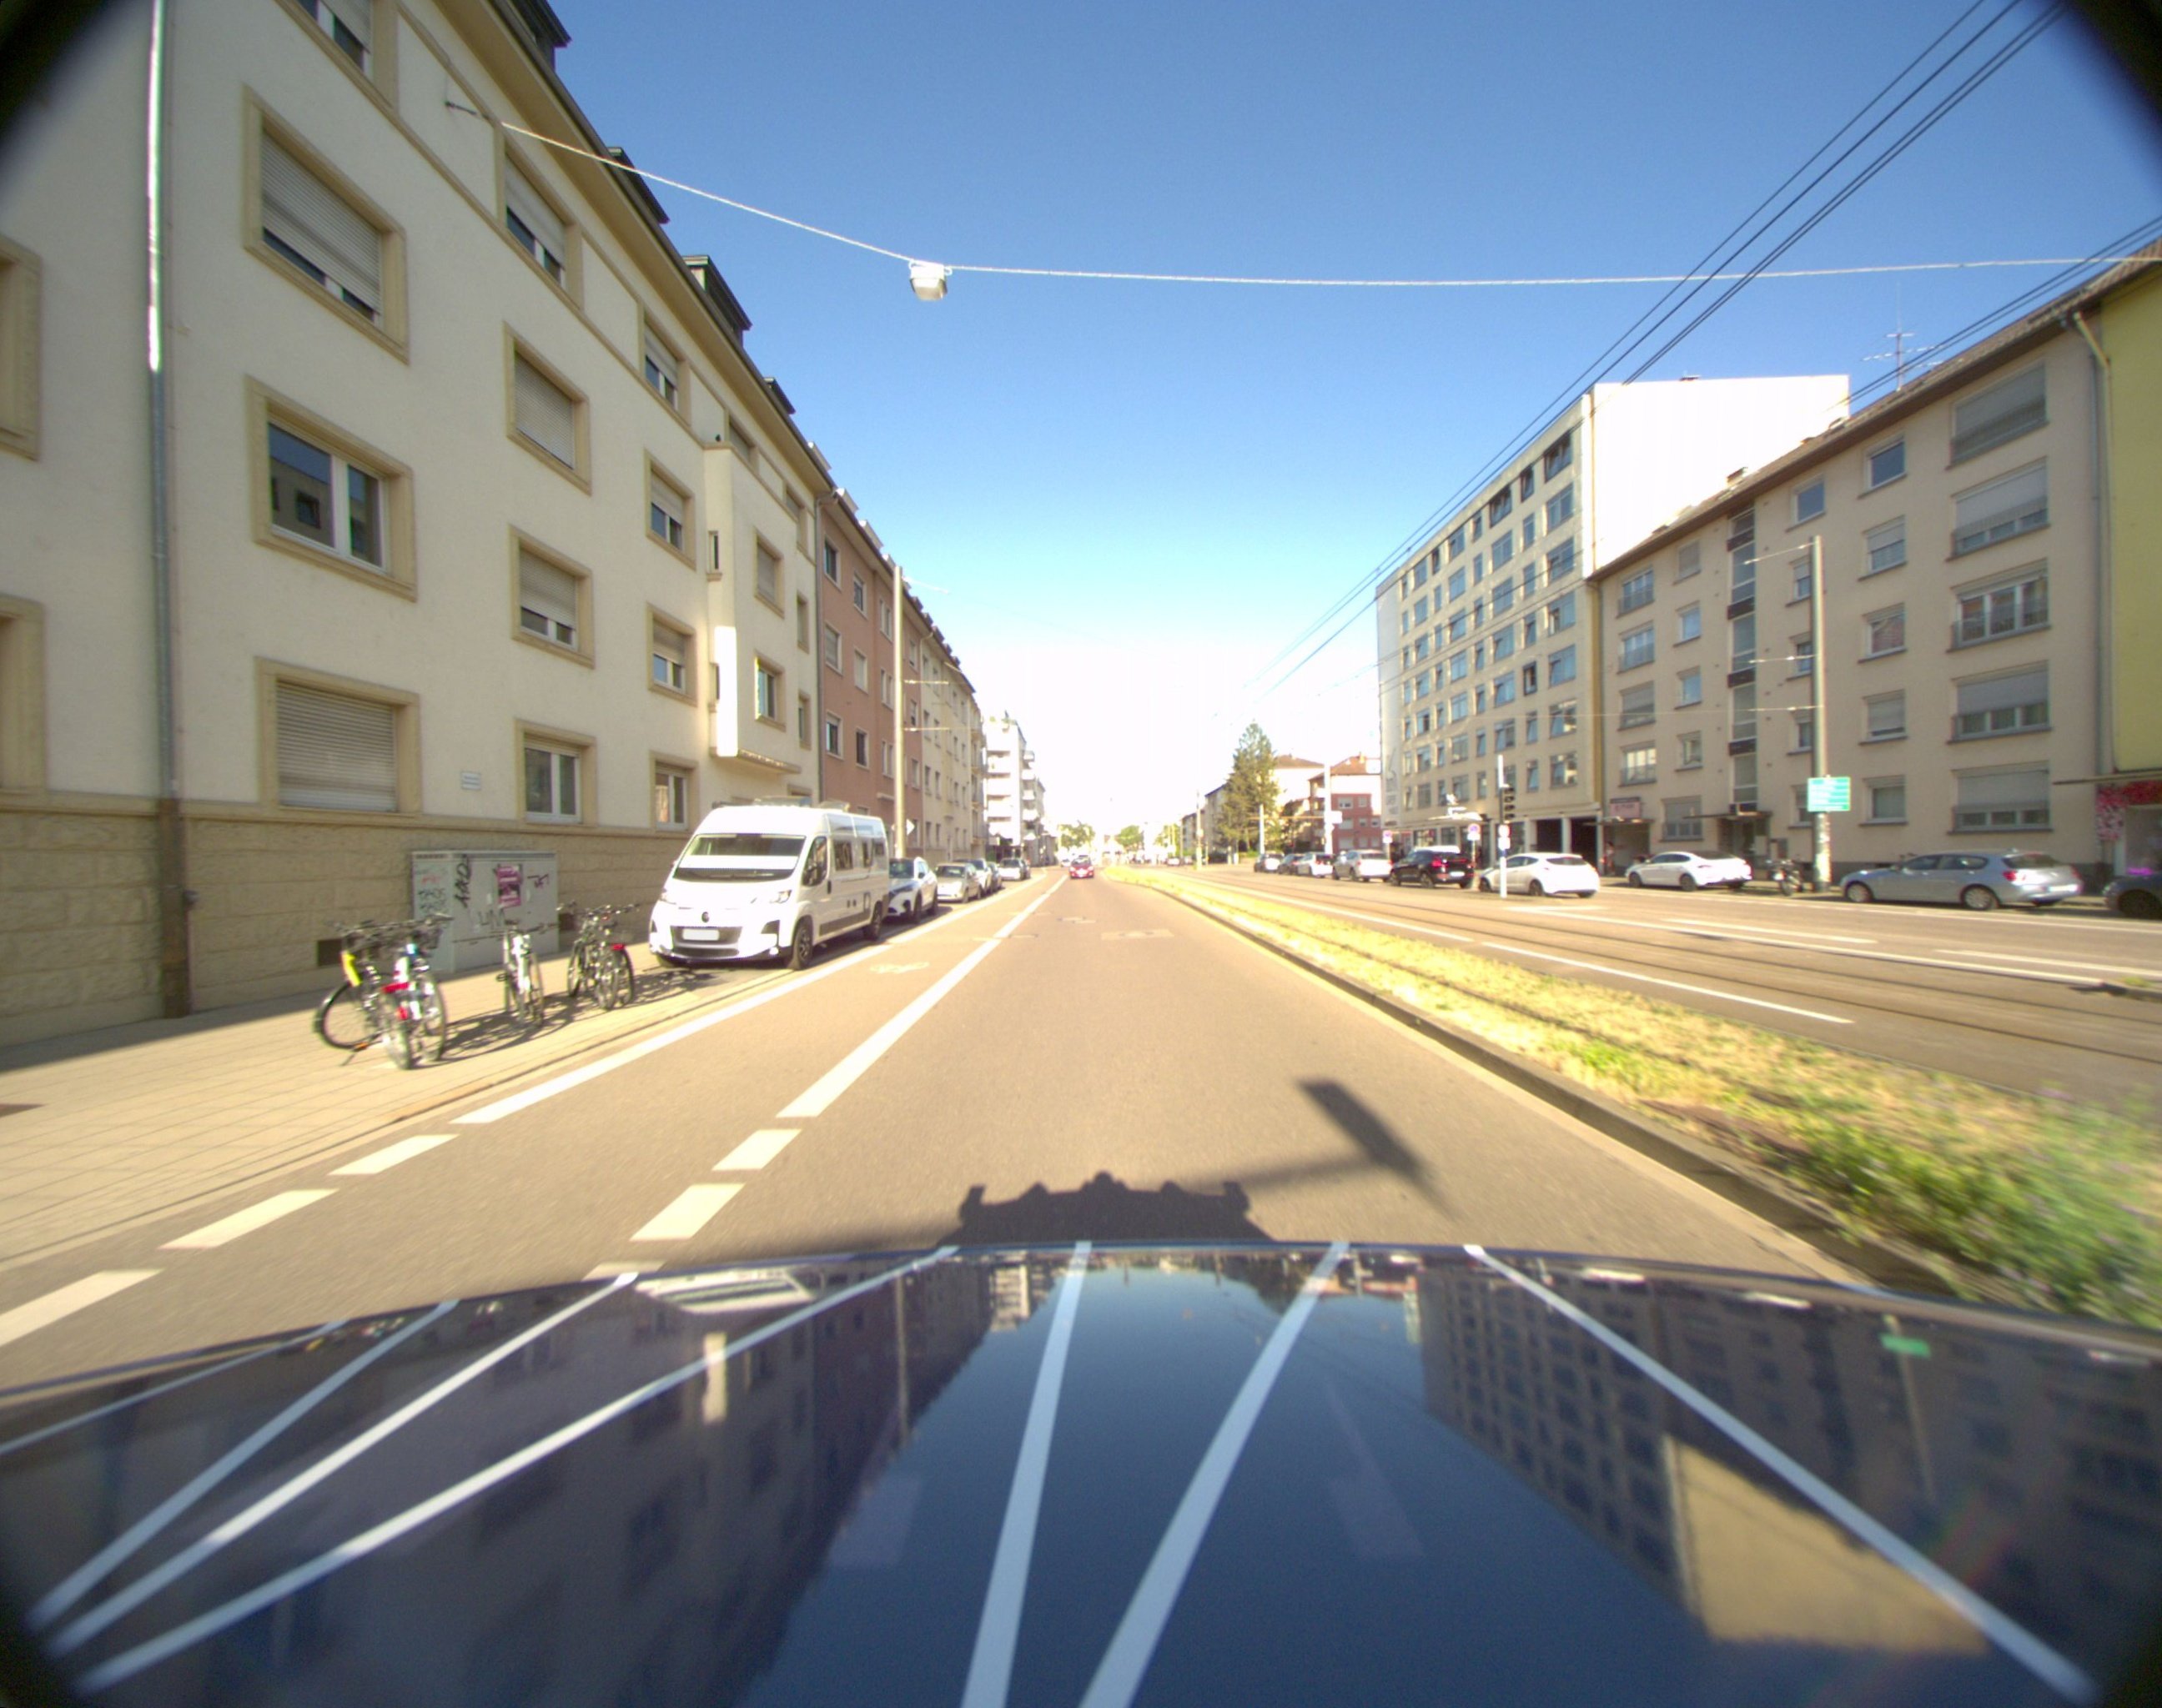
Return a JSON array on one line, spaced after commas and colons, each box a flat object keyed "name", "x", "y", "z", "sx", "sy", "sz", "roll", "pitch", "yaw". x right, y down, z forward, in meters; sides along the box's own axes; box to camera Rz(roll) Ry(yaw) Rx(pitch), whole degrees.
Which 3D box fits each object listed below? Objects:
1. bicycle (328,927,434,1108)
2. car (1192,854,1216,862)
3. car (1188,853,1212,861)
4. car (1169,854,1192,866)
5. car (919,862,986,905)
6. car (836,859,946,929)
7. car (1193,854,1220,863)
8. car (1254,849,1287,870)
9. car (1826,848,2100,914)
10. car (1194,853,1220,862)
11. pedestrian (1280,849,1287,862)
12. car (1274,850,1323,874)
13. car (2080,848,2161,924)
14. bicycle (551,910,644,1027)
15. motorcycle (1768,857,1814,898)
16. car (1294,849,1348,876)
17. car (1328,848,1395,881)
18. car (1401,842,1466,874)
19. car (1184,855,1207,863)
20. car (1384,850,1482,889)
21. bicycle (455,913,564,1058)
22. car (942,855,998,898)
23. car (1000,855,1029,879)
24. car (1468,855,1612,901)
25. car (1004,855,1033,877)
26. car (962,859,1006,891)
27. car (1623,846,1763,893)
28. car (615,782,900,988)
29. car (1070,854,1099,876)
[{"name": "bicycle", "x": -5.587, "y": 1.199, "z": 6.028, "sx": 1.912, "sy": 1.080, "sz": 0.475, "roll": 1, "pitch": -1, "yaw": 44}, {"name": "car", "x": 21.375, "y": 0.620, "z": 132.238, "sx": 3.997, "sy": 1.324, "sz": 1.738, "roll": -1, "pitch": 0, "yaw": 0}, {"name": "car", "x": 21.380, "y": 0.593, "z": 136.741, "sx": 3.997, "sy": 1.324, "sz": 1.738, "roll": -1, "pitch": 0, "yaw": 0}, {"name": "car", "x": 13.883, "y": 0.813, "z": 106.271, "sx": 1.718, "sy": 1.379, "sz": 3.720, "roll": -4, "pitch": 0, "yaw": 32}, {"name": "car", "x": -4.726, "y": 1.056, "z": 28.459, "sx": 1.625, "sy": 1.452, "sz": 4.055, "roll": 1, "pitch": 0, "yaw": 2}, {"name": "car", "x": -4.868, "y": 0.948, "z": 20.137, "sx": 1.852, "sy": 1.627, "sz": 4.574, "roll": 0, "pitch": 0, "yaw": -1}, {"name": "car", "x": 20.139, "y": 0.684, "z": 121.654, "sx": 3.997, "sy": 1.324, "sz": 1.738, "roll": -1, "pitch": 0, "yaw": 0}, {"name": "car", "x": 14.741, "y": 0.443, "z": 59.251, "sx": 1.617, "sy": 1.550, "sz": 4.000, "roll": 1, "pitch": 0, "yaw": 0}, {"name": "car", "x": 22.198, "y": 0.621, "z": 19.462, "sx": 1.787, "sy": 1.377, "sz": 4.414, "roll": -4, "pitch": 0, "yaw": -1}, {"name": "car", "x": 21.103, "y": 0.595, "z": 127.400, "sx": 3.997, "sy": 1.324, "sz": 1.738, "roll": -1, "pitch": 0, "yaw": 0}, {"name": "pedestrian", "x": 26.325, "y": 0.200, "z": 98.804, "sx": 0.615, "sy": 1.596, "sz": 0.510, "roll": -4, "pitch": 0, "yaw": -1}, {"name": "car", "x": 14.907, "y": 0.516, "z": 52.221, "sx": 1.999, "sy": 1.541, "sz": 4.366, "roll": 1, "pitch": 0, "yaw": -1}, {"name": "car", "x": 22.315, "y": 0.628, "z": 14.069, "sx": 1.787, "sy": 1.412, "sz": 4.415, "roll": -4, "pitch": 0, "yaw": 1}, {"name": "bicycle", "x": -5.348, "y": 1.186, "z": 8.345, "sx": 0.487, "sy": 1.080, "sz": 2.023, "roll": -4, "pitch": 0, "yaw": -42}, {"name": "motorcycle", "x": 22.325, "y": 0.720, "z": 23.873, "sx": 2.115, "sy": 1.132, "sz": 0.486, "roll": -4, "pitch": 0, "yaw": -32}, {"name": "car", "x": 14.493, "y": 0.521, "z": 46.157, "sx": 1.861, "sy": 1.541, "sz": 4.240, "roll": 1, "pitch": 0, "yaw": -1}, {"name": "car", "x": 14.315, "y": 0.530, "z": 39.016, "sx": 1.787, "sy": 1.572, "sz": 4.608, "roll": 0, "pitch": 0, "yaw": 0}, {"name": "car", "x": 23.238, "y": 0.248, "z": 50.302, "sx": 1.999, "sy": 1.887, "sz": 4.669, "roll": -4, "pitch": 0, "yaw": -1}, {"name": "car", "x": 21.313, "y": 0.908, "z": 141.421, "sx": 3.997, "sy": 1.324, "sz": 1.738, "roll": -1, "pitch": 0, "yaw": 0}, {"name": "car", "x": 14.557, "y": 0.618, "z": 31.726, "sx": 1.788, "sy": 1.519, "sz": 4.413, "roll": 0, "pitch": 0, "yaw": -4}, {"name": "bicycle", "x": -5.541, "y": 1.189, "z": 7.323, "sx": 1.912, "sy": 1.081, "sz": 0.474, "roll": 1, "pitch": 4, "yaw": 44}, {"name": "car", "x": -4.794, "y": 0.946, "z": 33.354, "sx": 1.806, "sy": 1.687, "sz": 4.490, "roll": 2, "pitch": 0, "yaw": -1}, {"name": "car", "x": -4.474, "y": 0.867, "z": 51.343, "sx": 1.762, "sy": 1.543, "sz": 2.649, "roll": 0, "pitch": 0, "yaw": -1}, {"name": "car", "x": 14.983, "y": 0.731, "z": 25.137, "sx": 1.839, "sy": 1.377, "sz": 4.413, "roll": 0, "pitch": 0, "yaw": -5}, {"name": "car", "x": -4.556, "y": 0.833, "z": 55.535, "sx": 1.823, "sy": 1.543, "sz": 4.175, "roll": 1, "pitch": 0, "yaw": -1}, {"name": "car", "x": -4.895, "y": 1.035, "z": 38.837, "sx": 1.750, "sy": 1.470, "sz": 4.153, "roll": 2, "pitch": 0, "yaw": -1}, {"name": "car", "x": 22.444, "y": 0.529, "z": 28.094, "sx": 1.763, "sy": 1.477, "sz": 4.200, "roll": -4, "pitch": 0, "yaw": 1}, {"name": "car", "x": -5.028, "y": 0.416, "z": 13.177, "sx": 2.156, "sy": 2.680, "sz": 6.292, "roll": 1, "pitch": 0, "yaw": 1}, {"name": "car", "x": 0.267, "y": 0.730, "z": 51.753, "sx": 1.862, "sy": 1.461, "sz": 3.809, "roll": 0, "pitch": 0, "yaw": 1}]
